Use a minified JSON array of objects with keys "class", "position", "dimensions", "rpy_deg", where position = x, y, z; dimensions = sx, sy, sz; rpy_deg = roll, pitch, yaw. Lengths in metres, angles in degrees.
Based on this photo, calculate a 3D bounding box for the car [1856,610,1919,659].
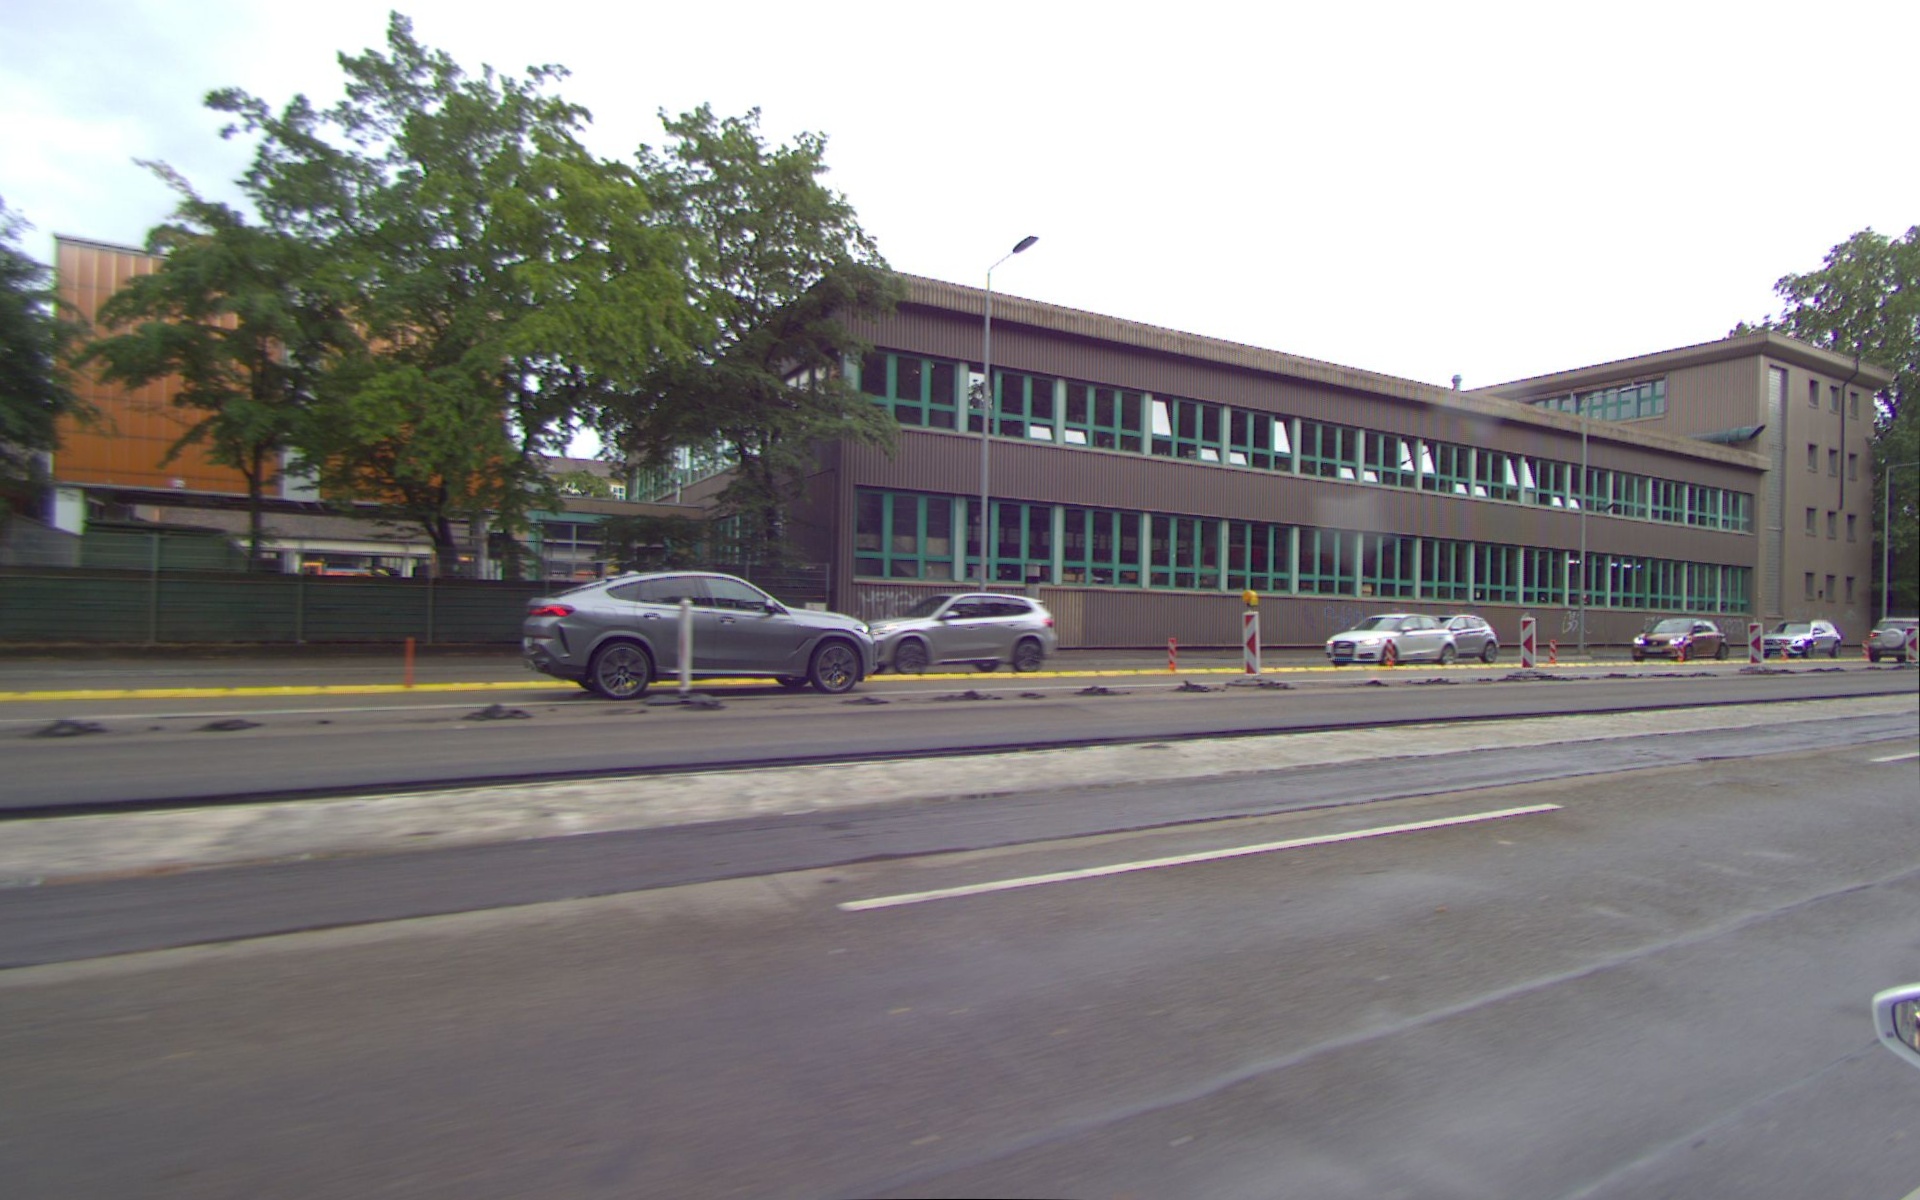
[{"class":"car","position":[34.732,1.267,36.674],"dimensions":[3.953,1.670,1.846],"rpy_deg":[2,0,-30]}]

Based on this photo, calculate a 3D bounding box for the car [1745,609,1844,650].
[{"class":"car","position":[37.716,1.326,45.372],"dimensions":[4.879,1.729,1.928],"rpy_deg":[2,0,-31]}]

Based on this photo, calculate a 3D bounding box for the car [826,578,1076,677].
[{"class":"car","position":[-0.152,0.536,20.183],"dimensions":[4.617,1.792,1.980],"rpy_deg":[2,0,-29]}]

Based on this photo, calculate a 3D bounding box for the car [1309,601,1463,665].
[{"class":"car","position":[11.451,0.876,26.980],"dimensions":[3.945,1.555,1.795],"rpy_deg":[2,0,-30]}]

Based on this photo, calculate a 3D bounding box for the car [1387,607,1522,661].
[{"class":"car","position":[16.143,1.104,32.754],"dimensions":[4.130,1.607,1.984],"rpy_deg":[2,0,-30]}]

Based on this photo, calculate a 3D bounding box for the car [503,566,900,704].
[{"class":"car","position":[-3.547,0.459,14.071],"dimensions":[4.998,1.635,2.066],"rpy_deg":[2,0,-31]}]

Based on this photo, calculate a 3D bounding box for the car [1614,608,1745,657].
[{"class":"car","position":[24.672,1.107,34.415],"dimensions":[4.460,1.522,1.886],"rpy_deg":[2,0,-29]}]

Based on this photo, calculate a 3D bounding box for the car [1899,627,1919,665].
[{"class":"car","position":[52.852,2.489,54.072],"dimensions":[5.303,1.944,1.983],"rpy_deg":[2,0,-31]}]
